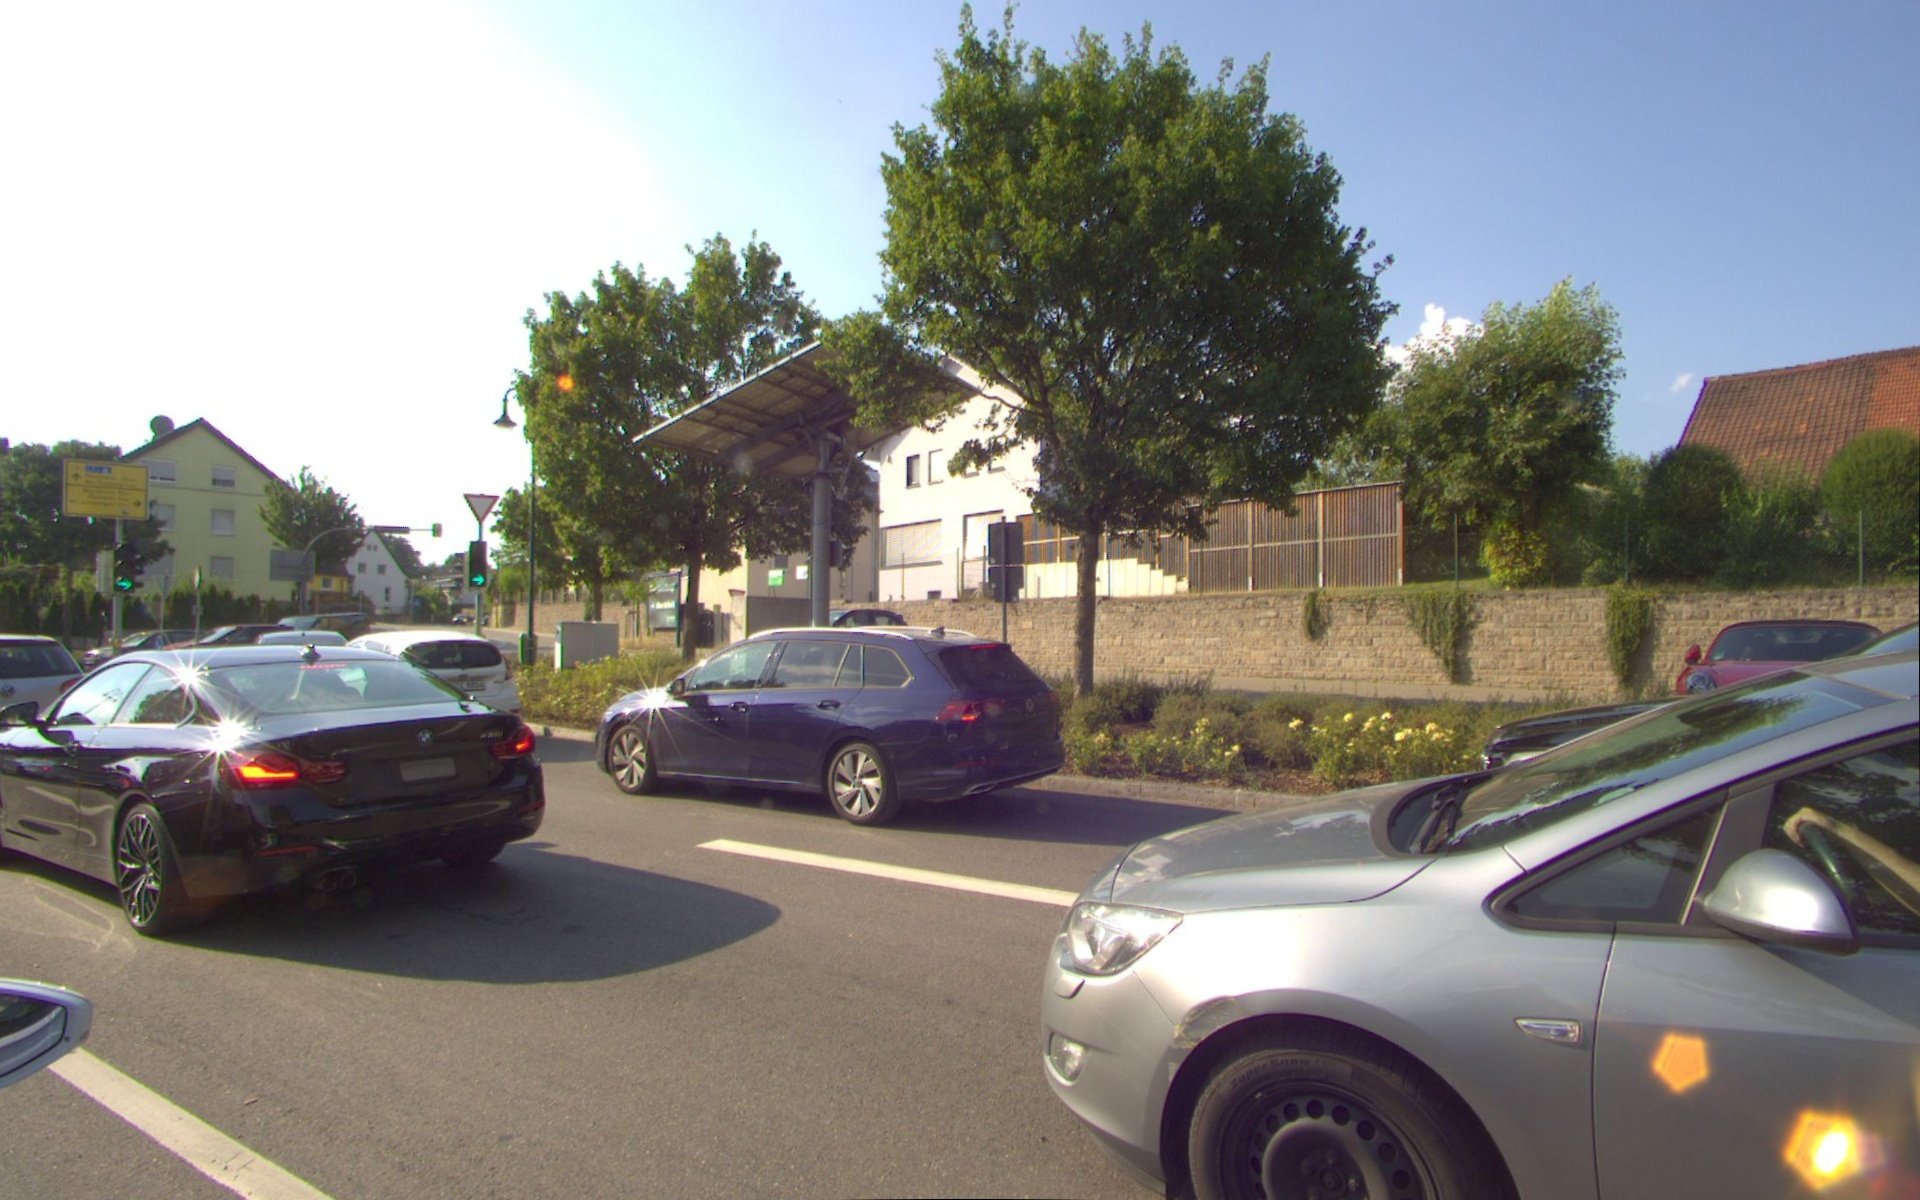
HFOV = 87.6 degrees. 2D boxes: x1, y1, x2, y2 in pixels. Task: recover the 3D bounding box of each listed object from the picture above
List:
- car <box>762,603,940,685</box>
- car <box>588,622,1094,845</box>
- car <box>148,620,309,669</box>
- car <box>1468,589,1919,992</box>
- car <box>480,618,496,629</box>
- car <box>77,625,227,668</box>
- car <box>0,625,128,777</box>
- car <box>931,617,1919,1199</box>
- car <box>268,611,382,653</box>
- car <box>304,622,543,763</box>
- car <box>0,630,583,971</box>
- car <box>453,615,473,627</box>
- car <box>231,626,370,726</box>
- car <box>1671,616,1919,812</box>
[{"bbox_3d":[-2.355,0.958,22.293,1.758,1.653,3.800,-1,-2,40],"label":"car"},{"bbox_3d":[-1.152,0.947,8.675,4.259,1.472,1.757,-1,0,34],"label":"car"},{"bbox_3d":[-26.463,1.596,36.407,1.818,1.662,4.418,0,-2,25],"label":"car"},{"bbox_3d":[4.838,0.764,4.495,4.497,1.630,1.759,-1,0,30],"label":"car"},{"bbox_3d":[-70.163,3.494,148.822,1.939,1.701,4.202,0,-1,-23],"label":"car"},{"bbox_3d":[-30.049,1.717,37.361,1.821,1.508,3.983,-1,-2,30],"label":"car"},{"bbox_3d":[-10.784,1.012,10.775,3.848,1.444,1.758,-1,0,33],"label":"car"},{"bbox_3d":[2.195,0.782,2.156,4.256,1.472,1.758,-1,0,31],"label":"car"},{"bbox_3d":[-28.113,1.418,44.541,1.812,1.761,4.786,0,-2,3],"label":"car"},{"bbox_3d":[-6.982,1.080,12.929,3.278,1.562,1.611,-1,0,40],"label":"car"},{"bbox_3d":[-4.413,0.914,6.181,4.220,1.416,1.758,-1,0,33],"label":"car"},{"bbox_3d":[-71.810,2.984,144.644,1.937,1.701,4.207,0,-1,-18],"label":"car"},{"bbox_3d":[-12.147,1.281,18.312,1.643,1.562,4.362,-1,0,-40],"label":"car"},{"bbox_3d":[8.247,0.950,9.739,1.758,1.510,4.120,-1,-2,41],"label":"car"}]
